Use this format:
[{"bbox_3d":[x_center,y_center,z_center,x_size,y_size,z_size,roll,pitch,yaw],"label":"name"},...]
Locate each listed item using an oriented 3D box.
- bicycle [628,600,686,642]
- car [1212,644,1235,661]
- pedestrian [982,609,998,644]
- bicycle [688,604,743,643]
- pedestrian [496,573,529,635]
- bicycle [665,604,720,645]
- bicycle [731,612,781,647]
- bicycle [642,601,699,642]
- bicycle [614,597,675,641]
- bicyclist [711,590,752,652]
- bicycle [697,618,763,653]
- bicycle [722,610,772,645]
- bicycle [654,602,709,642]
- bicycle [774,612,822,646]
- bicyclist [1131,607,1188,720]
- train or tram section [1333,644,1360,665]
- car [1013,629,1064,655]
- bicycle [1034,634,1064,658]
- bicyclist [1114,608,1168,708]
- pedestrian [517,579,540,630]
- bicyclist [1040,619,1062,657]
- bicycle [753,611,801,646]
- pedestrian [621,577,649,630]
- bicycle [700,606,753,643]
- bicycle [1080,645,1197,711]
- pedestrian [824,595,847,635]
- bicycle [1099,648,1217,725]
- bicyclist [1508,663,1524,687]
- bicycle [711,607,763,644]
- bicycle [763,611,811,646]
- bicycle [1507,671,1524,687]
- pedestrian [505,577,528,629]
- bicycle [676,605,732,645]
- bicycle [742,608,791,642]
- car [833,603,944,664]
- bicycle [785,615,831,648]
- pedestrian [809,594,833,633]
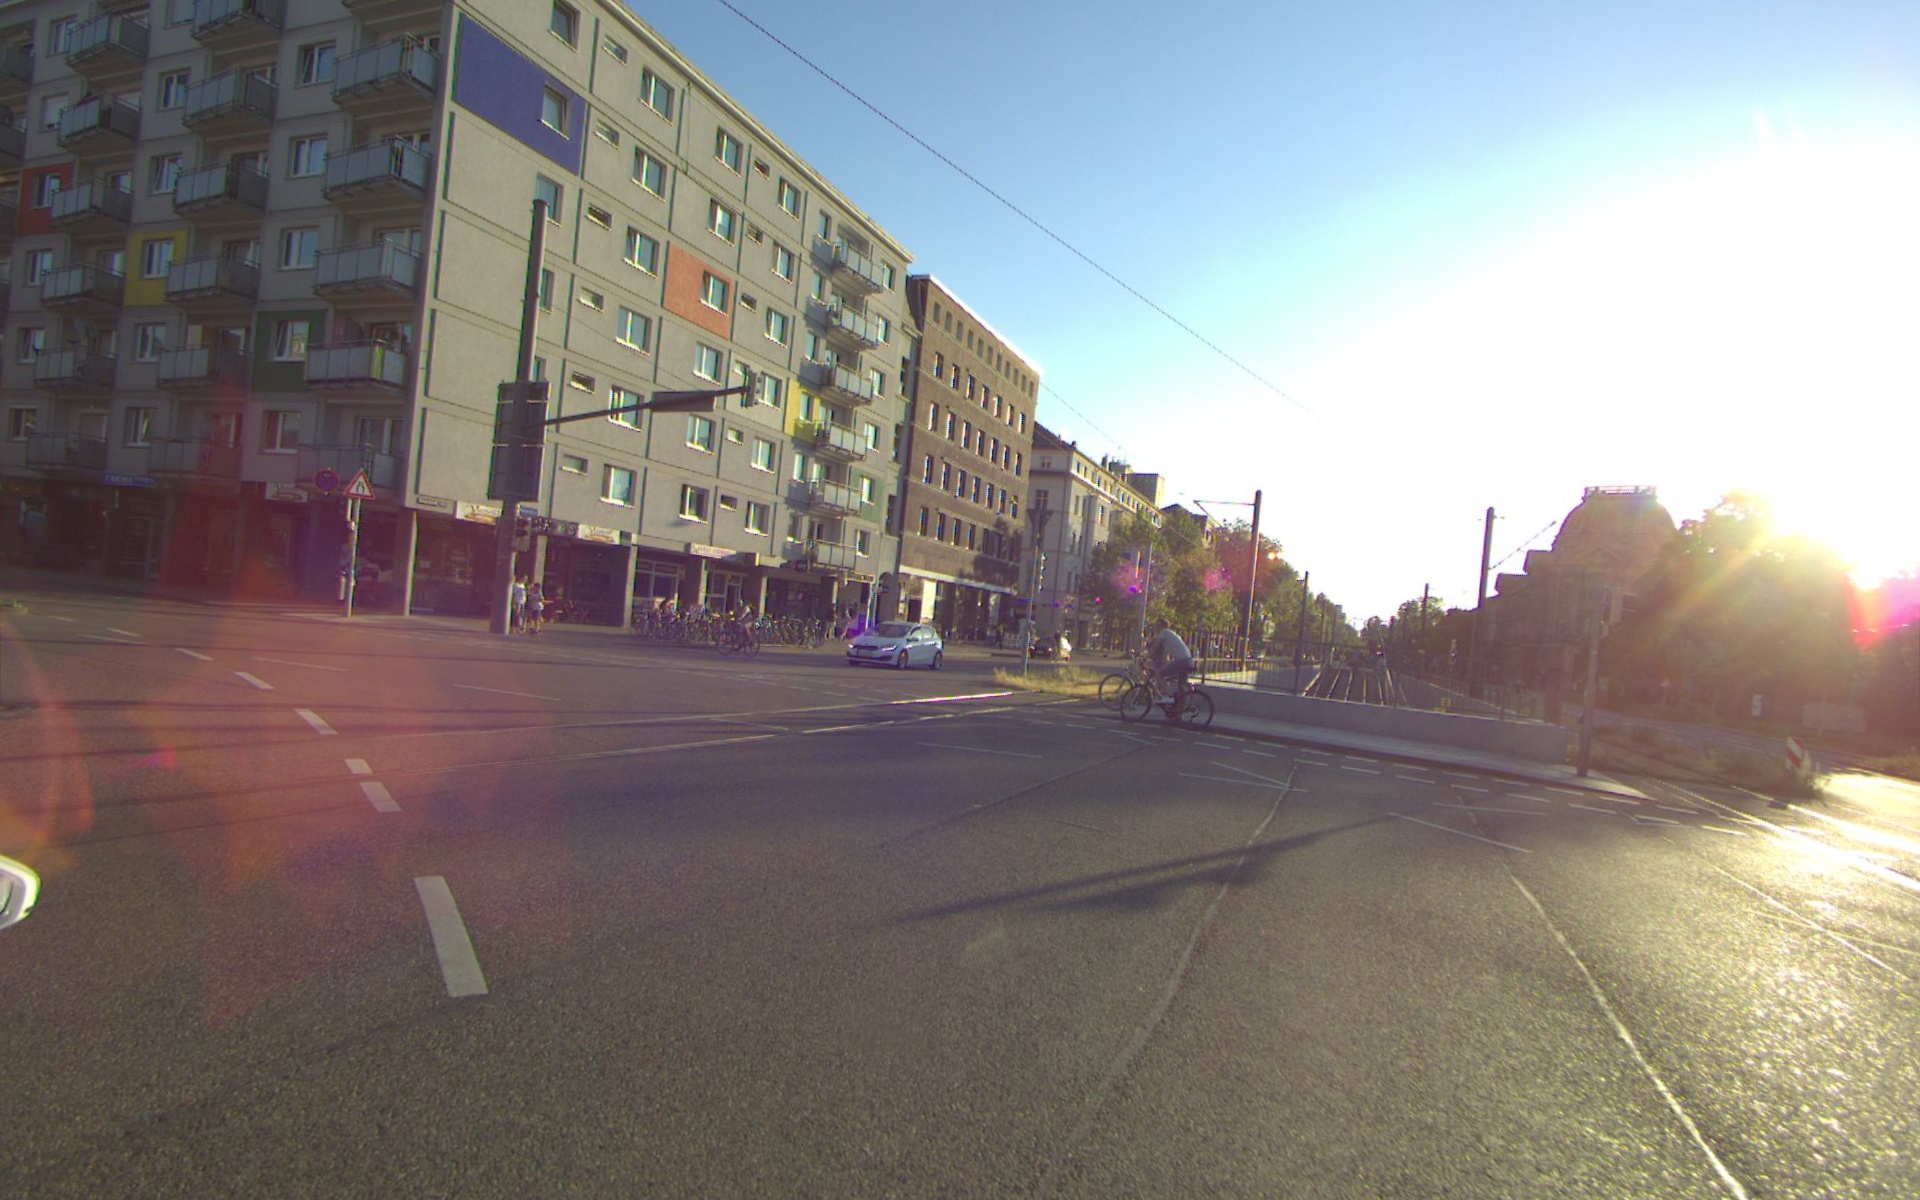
[{"bbox_3d":[-9.894,0.682,32.859,1.750,1.156,0.608,6,0,22],"label":"bicycle"},{"bbox_3d":[31.399,6.267,119.742,1.857,1.763,4.328,6,-1,24],"label":"car"},{"bbox_3d":[1.960,1.762,66.190,0.592,2.205,0.791,6,1,22],"label":"pedestrian"},{"bbox_3d":[-8.716,0.836,35.842,1.803,1.175,0.640,6,0,22],"label":"bicycle"},{"bbox_3d":[-12.359,0.111,27.782,0.563,1.640,0.602,5,1,-9],"label":"pedestrian"},{"bbox_3d":[-9.195,0.840,34.543,1.742,1.196,0.568,6,0,22],"label":"bicycle"},{"bbox_3d":[-7.746,1.121,38.168,1.734,1.133,0.568,6,0,23],"label":"bicycle"},{"bbox_3d":[-9.634,0.719,33.434,1.730,1.153,0.599,6,0,23],"label":"bicycle"},{"bbox_3d":[-10.120,0.607,32.262,1.767,1.223,0.638,6,0,22],"label":"bicycle"},{"bbox_3d":[-6.885,0.642,30.303,0.692,1.764,0.789,6,0,33],"label":"bicyclist"},{"bbox_3d":[-6.912,1.084,30.342,0.694,0.893,1.941,6,-1,34],"label":"bicycle"},{"bbox_3d":[-7.975,1.034,37.631,1.728,1.131,0.551,6,0,23],"label":"bicycle"},{"bbox_3d":[-9.416,0.739,33.989,1.739,1.182,0.540,6,0,23],"label":"bicycle"},{"bbox_3d":[-6.555,1.182,40.764,1.665,1.184,0.748,6,0,24],"label":"bicycle"},{"bbox_3d":[3.446,1.092,17.393,0.780,1.841,0.646,6,0,11],"label":"bicyclist"},{"bbox_3d":[81.934,11.562,213.635,4.318,3.897,11.411,6,-1,18],"label":"train or tram section"},{"bbox_3d":[4.999,2.667,63.452,1.793,1.437,3.996,6,-1,25],"label":"car"},{"bbox_3d":[4.992,2.590,56.365,0.801,1.216,2.411,6,-1,24],"label":"bicycle"},{"bbox_3d":[3.489,1.110,19.419,0.862,1.841,0.538,4,0,10],"label":"bicyclist"},{"bbox_3d":[-12.191,0.122,28.413,0.375,1.401,0.395,5,1,-6],"label":"pedestrian"},{"bbox_3d":[5.092,2.156,56.512,0.785,2.039,0.923,6,0,24],"label":"bicyclist"},{"bbox_3d":[-7.173,1.117,39.383,1.665,1.167,0.705,6,0,24],"label":"bicycle"},{"bbox_3d":[-10.891,0.118,33.744,0.573,1.705,0.543,6,1,44],"label":"pedestrian"},{"bbox_3d":[-8.464,0.889,36.499,1.749,1.173,0.605,6,0,22],"label":"bicycle"},{"bbox_3d":[3.427,1.498,19.425,2.129,1.097,0.539,3,0,9],"label":"bicycle"},{"bbox_3d":[-6.098,0.747,49.270,0.773,1.864,0.734,6,0,14],"label":"pedestrian"},{"bbox_3d":[3.423,1.482,17.411,1.871,1.089,0.632,6,0,12],"label":"bicycle"},{"bbox_3d":[57.340,7.712,103.805,1.066,2.305,0.986,6,1,22],"label":"bicyclist"},{"bbox_3d":[-8.215,0.941,37.081,1.744,1.150,0.605,6,0,23],"label":"bicycle"},{"bbox_3d":[-6.888,1.125,40.065,1.665,1.193,0.748,6,0,24],"label":"bicycle"},{"bbox_3d":[57.260,8.150,103.744,1.081,1.416,2.831,6,-1,22],"label":"bicycle"},{"bbox_3d":[-12.826,0.098,29.117,0.371,1.467,0.394,5,1,-5],"label":"pedestrian"},{"bbox_3d":[-8.959,0.864,35.151,1.761,1.206,0.651,6,0,22],"label":"bicycle"},{"bbox_3d":[-7.465,0.961,38.754,1.701,1.138,0.634,6,0,24],"label":"bicycle"},{"bbox_3d":[-2.147,1.087,31.290,1.664,1.638,3.998,5,-1,23],"label":"car"},{"bbox_3d":[-6.273,1.311,41.435,1.665,1.158,0.696,6,0,24],"label":"bicycle"},{"bbox_3d":[-6.879,0.680,49.656,0.813,1.835,0.721,6,0,12],"label":"pedestrian"}]
